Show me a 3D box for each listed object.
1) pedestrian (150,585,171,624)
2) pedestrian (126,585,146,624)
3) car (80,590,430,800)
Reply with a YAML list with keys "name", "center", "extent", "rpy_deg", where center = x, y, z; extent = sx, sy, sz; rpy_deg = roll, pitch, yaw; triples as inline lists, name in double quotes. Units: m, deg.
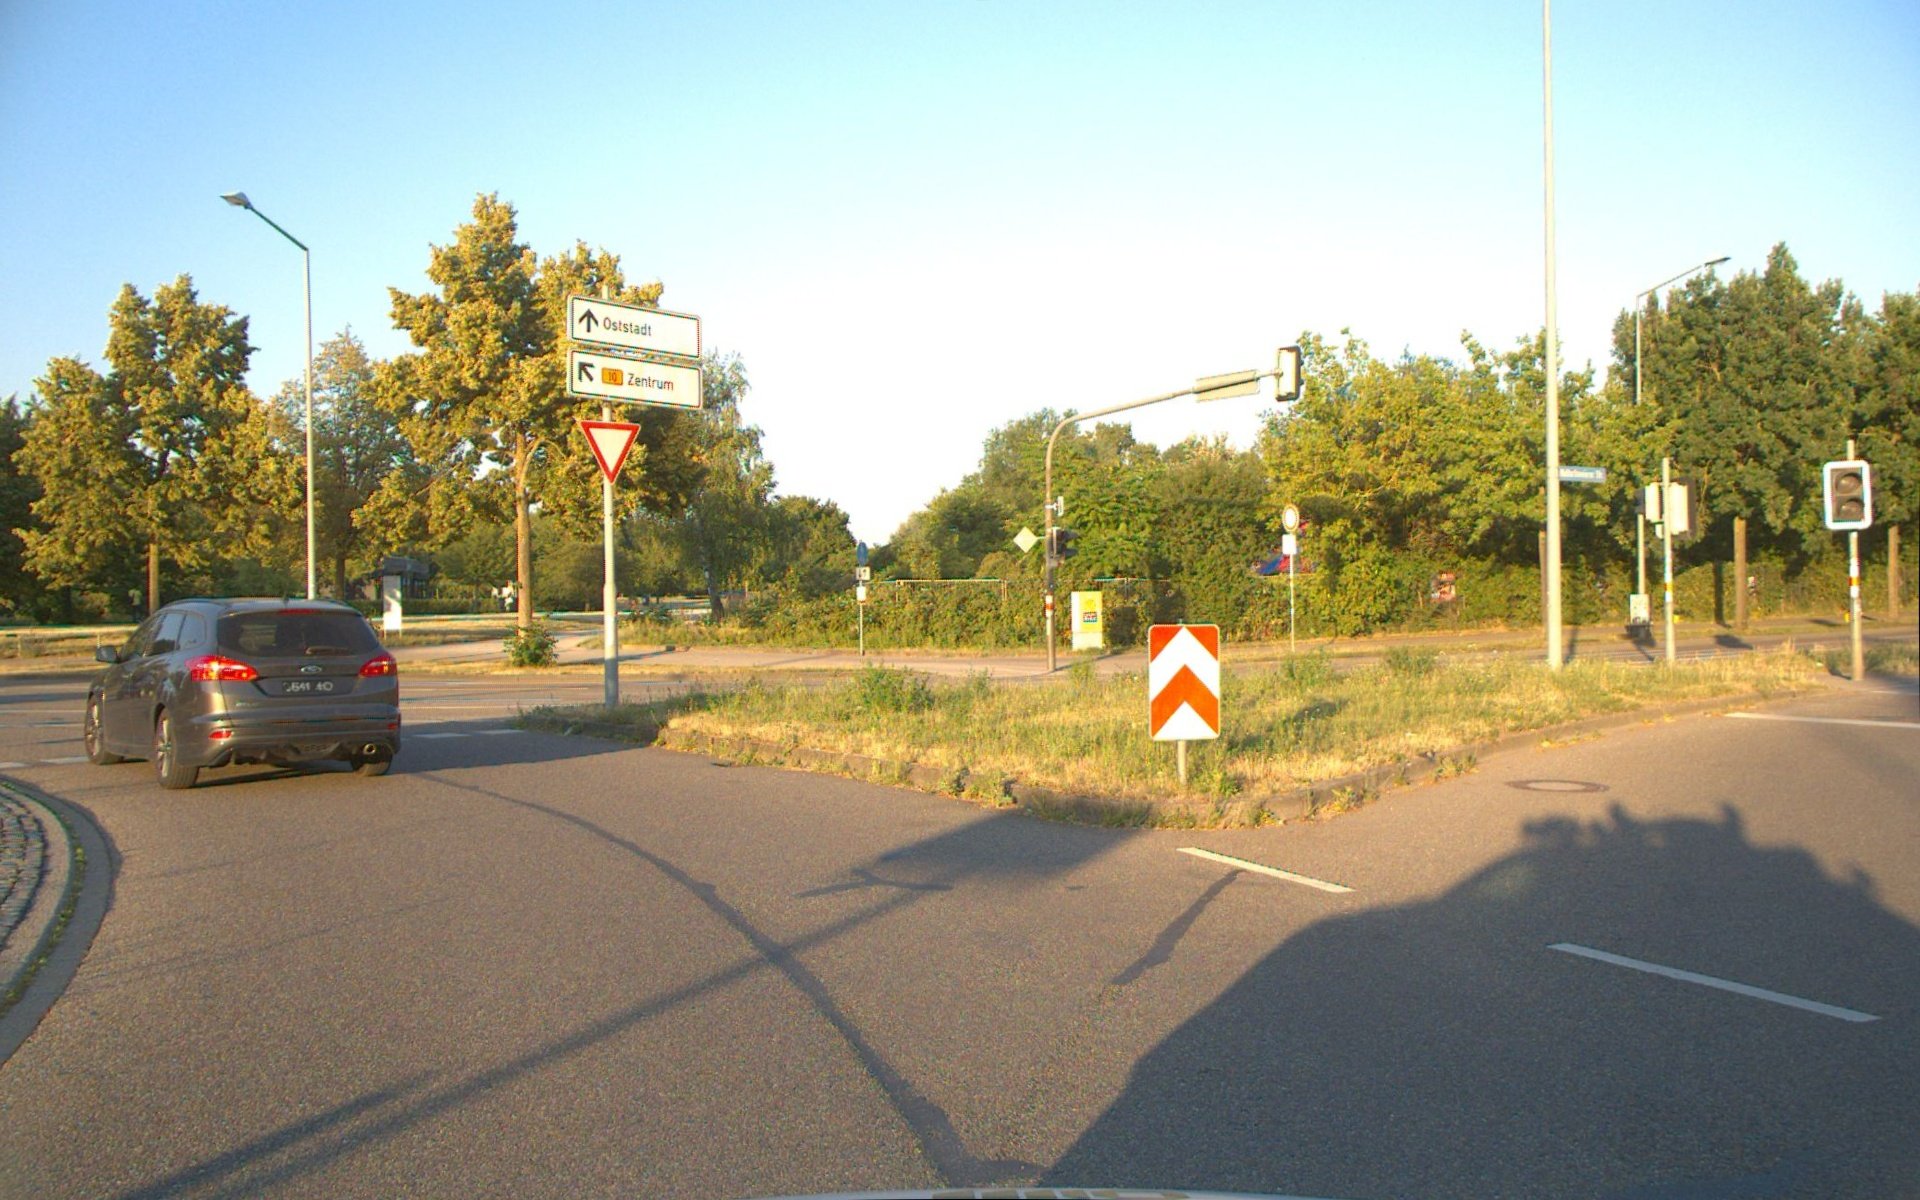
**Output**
- name: "pedestrian"
  center: [-34.384, 0.196, 71.160]
  extent: [0.519, 1.655, 0.619]
  rpy_deg: [-1, 0, 31]
- name: "pedestrian"
  center: [-35.690, 0.196, 71.645]
  extent: [0.523, 1.655, 0.578]
  rpy_deg: [-1, 0, 39]
- name: "car"
  center: [-6.179, 0.685, 14.237]
  extent: [1.734, 1.492, 4.077]
  rpy_deg: [-2, 1, -39]
